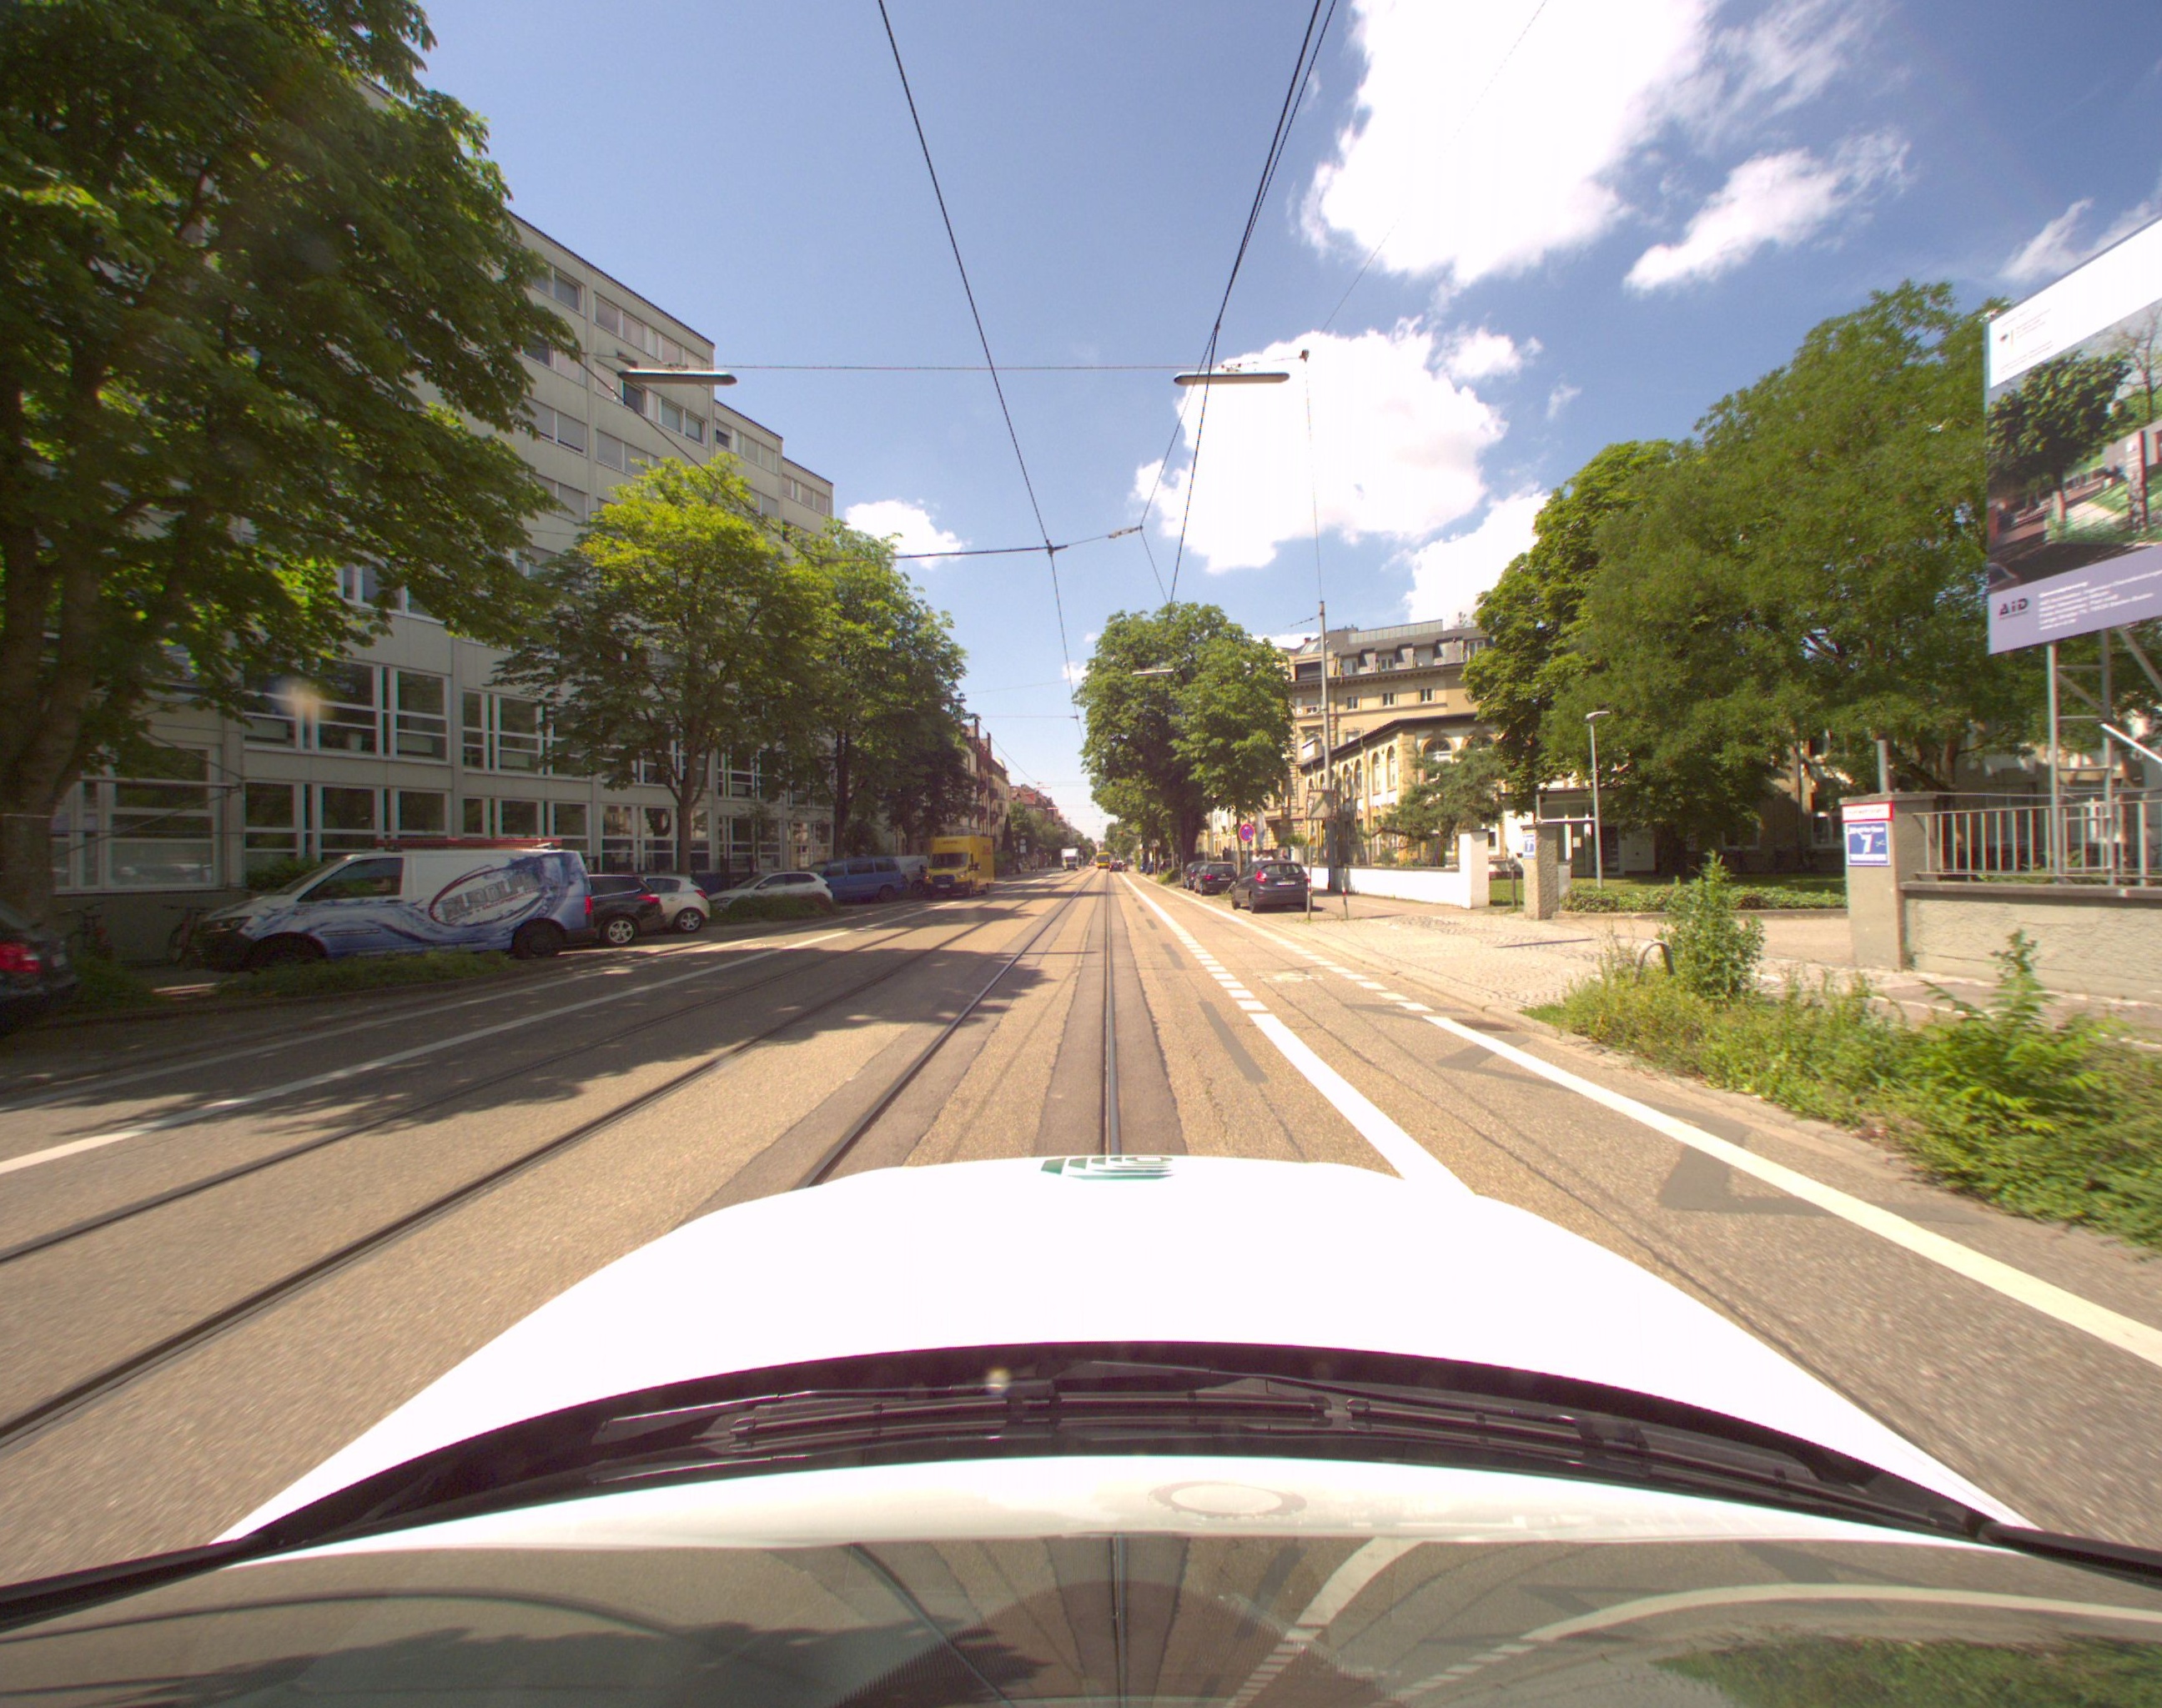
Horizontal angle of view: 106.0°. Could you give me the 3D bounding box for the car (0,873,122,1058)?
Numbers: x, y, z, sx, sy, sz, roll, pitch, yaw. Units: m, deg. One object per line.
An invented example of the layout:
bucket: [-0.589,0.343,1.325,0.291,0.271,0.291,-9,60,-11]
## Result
car: [-10.710,1.015,6.524,3.731,1.544,1.671,-2,-1,-44]

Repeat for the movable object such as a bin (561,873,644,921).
movable object such as a bin: [-15.515,1.373,26.473,1.755,1.410,1.490,-2,-1,1]

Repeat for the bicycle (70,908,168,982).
bicycle: [-16.049,1.483,13.574,2.110,1.075,0.561,0,0,27]

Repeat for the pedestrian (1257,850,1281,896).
pedestrian: [7.707,0.785,33.398,0.579,1.860,0.718,-2,-1,-34]

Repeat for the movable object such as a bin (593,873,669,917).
movable object such as a bin: [-15.453,1.397,28.016,1.755,1.410,1.424,-2,-1,1]

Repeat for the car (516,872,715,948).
car: [-10.888,1.255,19.196,3.731,1.467,1.741,-2,-1,-44]

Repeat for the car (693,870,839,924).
car: [-10.193,1.374,26.544,1.740,1.433,4.024,-5,-2,43]

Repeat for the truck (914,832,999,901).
truck: [-5.694,0.561,38.354,2.350,2.852,7.384,-2,0,3]

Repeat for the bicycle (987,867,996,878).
bicycle: [-8.356,1.736,76.027,0.541,0.969,1.990,0,-2,2]

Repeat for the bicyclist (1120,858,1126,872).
bicyclist: [5.118,1.347,99.556,0.618,1.616,0.867,0,-2,11]

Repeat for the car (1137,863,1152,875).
car: [7.974,1.887,102.449,1.704,1.423,4.310,-2,-1,1]

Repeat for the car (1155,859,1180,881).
car: [6.833,1.241,64.674,1.586,1.617,3.908,-2,-1,1]

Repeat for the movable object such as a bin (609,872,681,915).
movable object such as a bin: [-15.749,1.413,29.472,1.755,1.410,1.424,-2,-1,1]

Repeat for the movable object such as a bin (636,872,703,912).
movable object such as a bin: [-15.603,1.418,30.947,1.755,1.410,1.424,-2,-1,1]

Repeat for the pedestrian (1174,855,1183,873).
pedestrian: [10.154,1.062,84.733,0.806,1.860,0.623,-1,-2,0]

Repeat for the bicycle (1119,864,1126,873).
bicycle: [5.118,1.780,99.488,0.635,0.969,1.786,0,-2,11]

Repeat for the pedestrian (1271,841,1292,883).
pedestrian: [8.424,0.355,34.274,0.480,1.737,0.614,-2,-2,-34]

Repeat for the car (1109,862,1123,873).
car: [4.701,1.825,110.202,1.774,1.346,3.417,-1,-1,2]

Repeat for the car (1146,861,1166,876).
car: [7.704,1.472,84.059,1.704,1.423,4.310,-2,-1,1]

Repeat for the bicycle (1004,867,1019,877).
bicycle: [-7.159,1.871,83.950,0.538,0.969,1.792,-1,-2,31]

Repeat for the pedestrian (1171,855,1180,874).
pedestrian: [9.600,1.086,82.971,0.806,1.860,0.576,-1,-2,-1]

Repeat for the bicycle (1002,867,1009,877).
bicycle: [-8.114,1.927,87.366,0.541,0.969,1.782,0,0,2]

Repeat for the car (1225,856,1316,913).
car: [5.451,0.864,23.896,1.634,1.485,3.870,-2,-1,-2]

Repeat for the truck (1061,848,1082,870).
truck: [-1.551,0.789,135.149,2.928,3.550,8.456,-2,0,2]

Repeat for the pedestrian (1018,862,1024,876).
pedestrian: [-6.947,1.792,94.627,0.570,1.616,0.817,-1,-1,2]

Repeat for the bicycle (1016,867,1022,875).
bicycle: [-7.420,2.026,98.058,0.541,0.969,1.782,0,1,2]

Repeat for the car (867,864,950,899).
car: [-9.065,1.445,42.968,3.942,1.600,1.726,-2,-1,-44]

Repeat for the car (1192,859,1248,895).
car: [6.108,1.004,36.251,1.869,1.455,4.530,-2,-1,2]

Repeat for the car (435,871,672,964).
car: [-10.639,1.211,16.566,3.731,1.507,1.795,-2,-1,-44]

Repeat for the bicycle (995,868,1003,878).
bicycle: [-8.176,1.896,81.194,0.541,0.969,1.991,0,0,2]

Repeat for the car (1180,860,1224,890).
car: [6.282,1.092,42.692,1.704,1.423,4.244,-2,-1,1]

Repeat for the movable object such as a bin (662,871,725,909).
movable object such as a bin: [-15.407,1.424,32.436,1.755,1.410,1.424,-2,-1,1]

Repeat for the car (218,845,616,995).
car: [-10.603,0.917,13.337,1.897,1.935,4.785,-4,-1,44]

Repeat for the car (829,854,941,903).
car: [-9.428,1.161,39.409,4.785,2.062,2.003,-2,-1,-38]

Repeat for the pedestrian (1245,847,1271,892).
pedestrian: [7.435,0.658,34.252,0.579,1.860,0.802,-2,-1,-34]

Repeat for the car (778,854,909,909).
car: [-9.603,1.075,33.196,4.759,1.955,1.824,-2,-1,-44]

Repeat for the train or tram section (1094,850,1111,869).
train or tram section: [4.253,1.139,158.675,3.023,3.438,11.977,-1,-1,2]

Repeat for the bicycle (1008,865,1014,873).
bicycle: [-8.015,1.739,93.476,0.541,0.969,1.782,0,-1,2]
